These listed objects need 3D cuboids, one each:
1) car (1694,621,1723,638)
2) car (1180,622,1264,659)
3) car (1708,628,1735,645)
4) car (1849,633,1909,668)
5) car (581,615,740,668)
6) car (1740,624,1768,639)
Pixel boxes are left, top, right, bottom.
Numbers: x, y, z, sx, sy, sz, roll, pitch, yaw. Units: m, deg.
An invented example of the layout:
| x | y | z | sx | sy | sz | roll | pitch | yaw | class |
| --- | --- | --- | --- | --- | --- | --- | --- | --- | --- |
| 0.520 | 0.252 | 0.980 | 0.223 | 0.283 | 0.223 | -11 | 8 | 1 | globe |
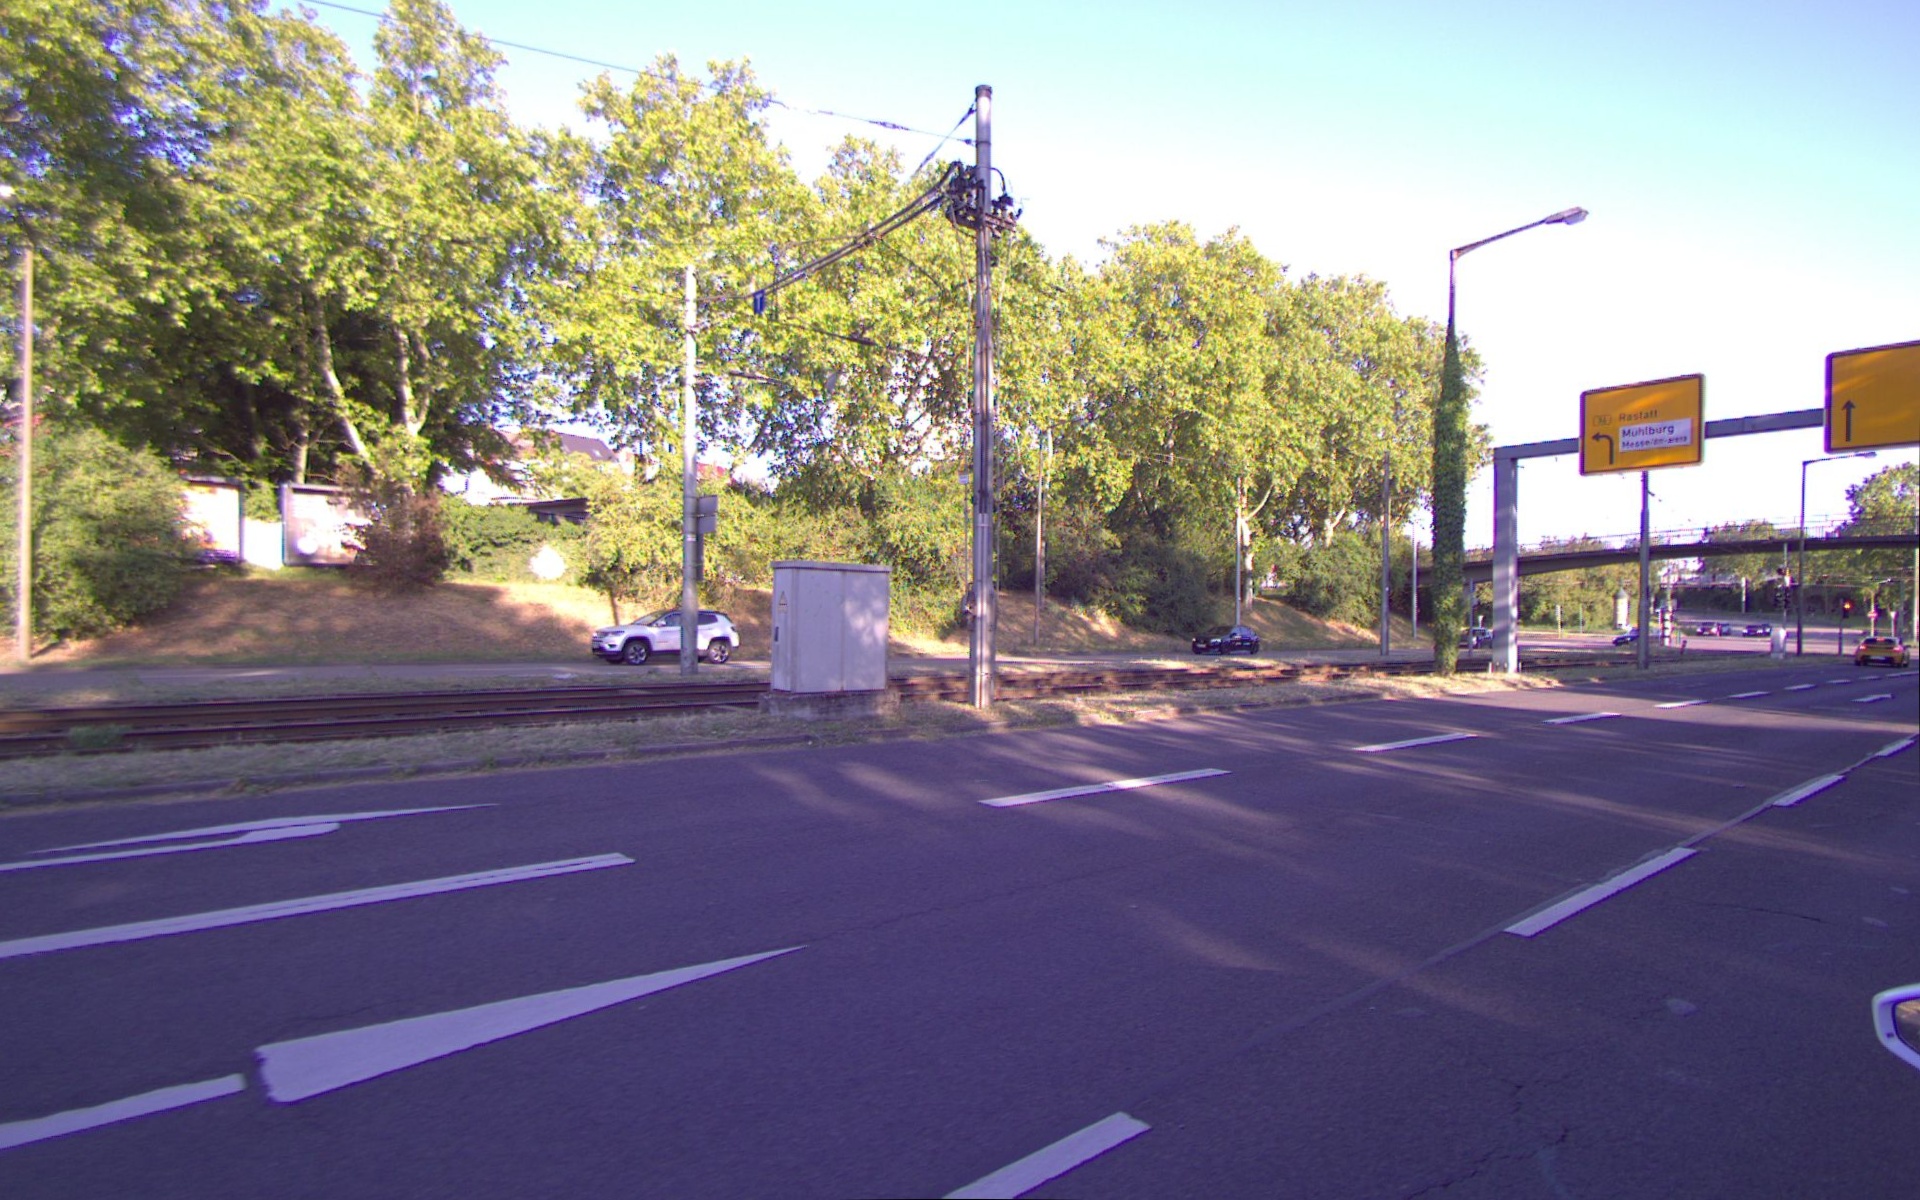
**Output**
| x | y | z | sx | sy | sz | roll | pitch | yaw | class |
| --- | --- | --- | --- | --- | --- | --- | --- | --- | --- |
| 85.208 | 3.324 | 114.393 | 3.970 | 1.795 | 1.861 | 1 | 1 | -42 | car |
| 12.832 | 1.974 | 49.120 | 4.156 | 1.703 | 1.977 | 2 | -2 | -40 | car |
| 90.529 | 4.323 | 119.374 | 3.970 | 1.795 | 1.861 | 1 | 1 | -42 | car |
| 44.632 | 2.423 | 48.770 | 3.968 | 1.586 | 1.649 | 1 | -2 | -41 | car |
| -8.989 | 1.240 | 30.272 | 4.156 | 1.459 | 1.978 | 2 | -2 | -39 | car |
| 89.424 | 3.550 | 113.134 | 3.647 | 1.596 | 1.861 | 1 | 1 | -42 | car |
